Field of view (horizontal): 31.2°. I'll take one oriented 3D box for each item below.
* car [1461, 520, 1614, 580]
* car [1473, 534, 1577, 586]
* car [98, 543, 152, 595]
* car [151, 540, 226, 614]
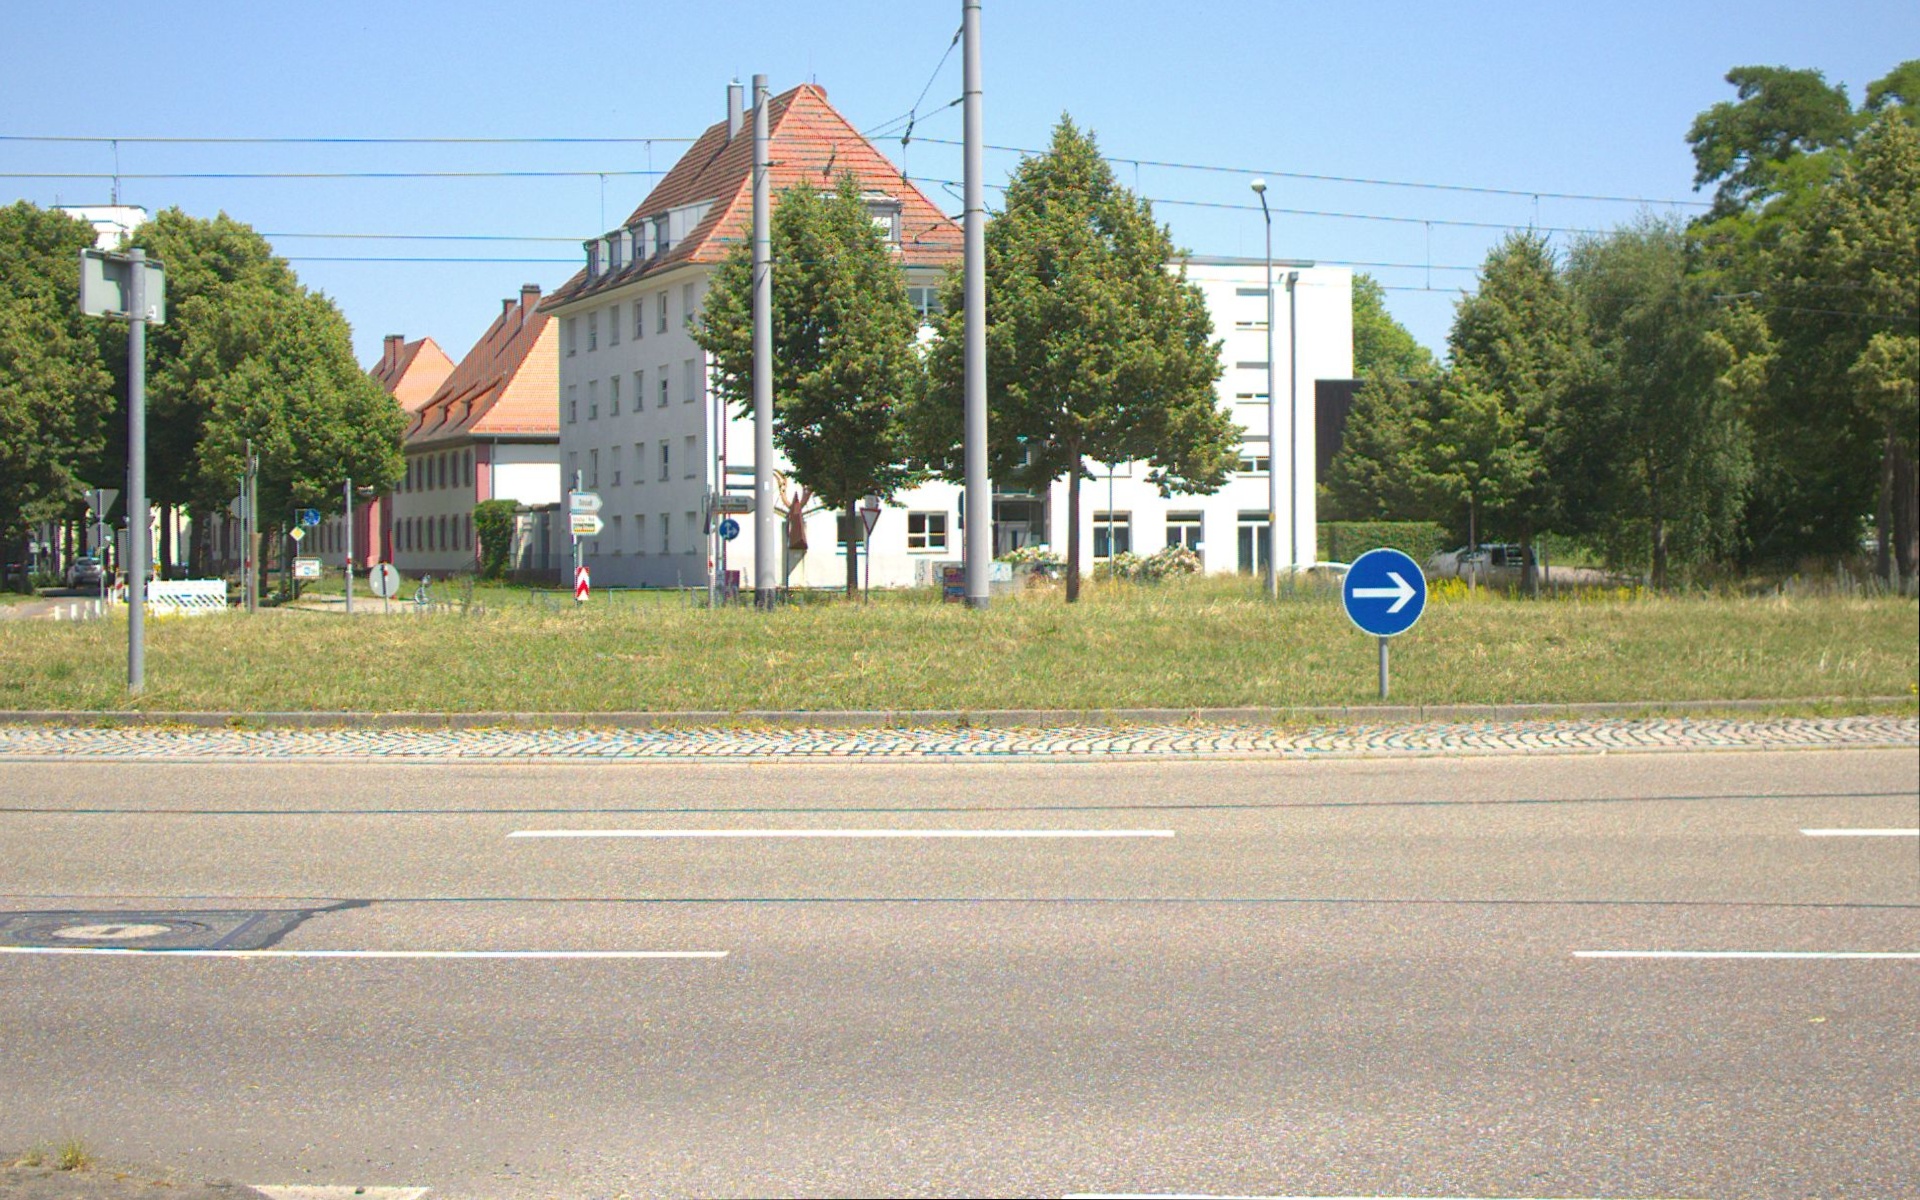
[{"bbox_3d":[17.214,-1.481,102.522,3.986,1.678,2.001,1,0,-12],"label":"car"},{"bbox_3d":[23.057,-1.618,140.237,3.990,2.007,1.999,1,0,15],"label":"car"},{"bbox_3d":[-33.303,-1.229,137.226,1.993,2.007,4.001,1,0,-13],"label":"car"},{"bbox_3d":[-21.768,-0.660,96.970,1.993,2.007,4.001,1,0,-13],"label":"car"}]
